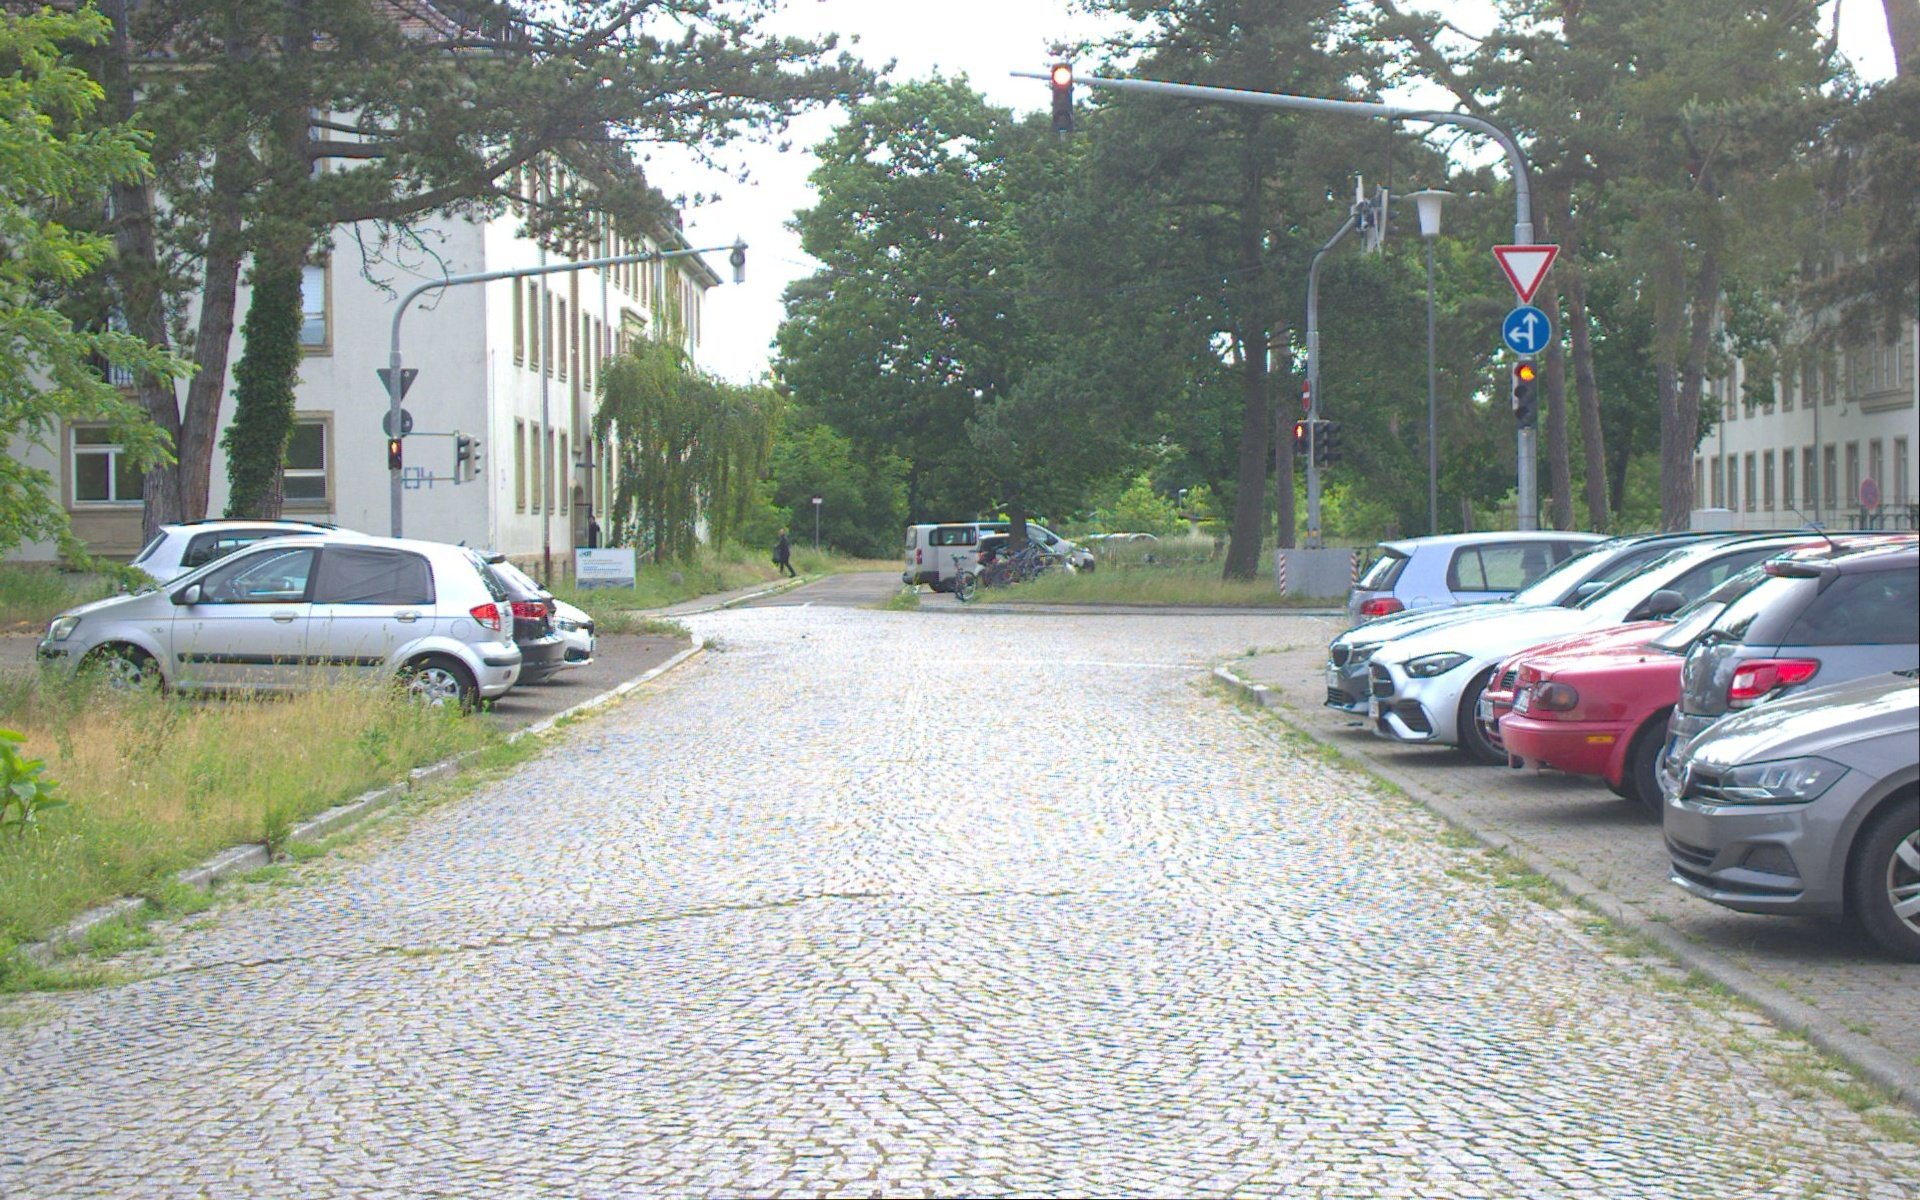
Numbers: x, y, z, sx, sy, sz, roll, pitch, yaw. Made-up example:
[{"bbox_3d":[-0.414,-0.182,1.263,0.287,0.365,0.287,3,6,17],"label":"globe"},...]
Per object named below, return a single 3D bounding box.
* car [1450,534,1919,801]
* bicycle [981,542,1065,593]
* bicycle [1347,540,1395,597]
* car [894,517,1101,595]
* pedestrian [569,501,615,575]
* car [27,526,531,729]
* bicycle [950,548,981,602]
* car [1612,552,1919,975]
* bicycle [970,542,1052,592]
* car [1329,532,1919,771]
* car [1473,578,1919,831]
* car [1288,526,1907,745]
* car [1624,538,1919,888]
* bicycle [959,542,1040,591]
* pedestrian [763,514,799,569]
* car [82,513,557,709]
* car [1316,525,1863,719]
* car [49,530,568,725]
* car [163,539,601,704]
[{"bbox_3d":[5.162,0.359,20.774,4.105,1.471,1.685,-1,1,-1],"label":"car"},{"bbox_3d":[1.477,-0.763,80.589,1.881,1.167,0.665,1,1,-5],"label":"bicycle"},{"bbox_3d":[7.797,-0.603,65.282,0.663,1.047,1.888,1,2,0],"label":"bicycle"},{"bbox_3d":[1.018,-1.240,95.392,5.374,2.094,2.179,-1,1,-12],"label":"car"},{"bbox_3d":[-9.969,-1.677,93.151,1.074,1.952,1.121,1,1,0],"label":"pedestrian"},{"bbox_3d":[-5.399,0.197,27.587,3.720,1.475,1.673,2,1,-3],"label":"car"},{"bbox_3d":[0.122,-0.566,75.966,0.663,1.167,1.888,1,1,0],"label":"bicycle"},{"bbox_3d":[4.695,0.531,12.942,4.130,1.442,1.766,-1,1,1],"label":"car"},{"bbox_3d":[1.213,-0.797,82.419,1.881,1.167,0.665,1,1,-5],"label":"bicycle"},{"bbox_3d":[4.746,0.307,23.138,4.184,1.432,1.756,-1,1,-7],"label":"car"},{"bbox_3d":[4.665,0.521,18.437,3.587,1.218,1.628,-1,1,2],"label":"car"},{"bbox_3d":[4.760,0.230,25.904,4.227,1.474,1.710,-2,1,-10],"label":"car"},{"bbox_3d":[4.993,0.451,15.807,3.505,1.482,1.743,-1,1,0],"label":"car"},{"bbox_3d":[0.964,-0.828,84.089,1.881,1.167,0.665,1,1,-5],"label":"bicycle"},{"bbox_3d":[-6.531,-2.128,125.071,1.239,1.952,1.121,1,1,-5],"label":"pedestrian"},{"bbox_3d":[-6.075,0.085,32.992,4.297,1.726,1.653,-1,1,-5],"label":"car"},{"bbox_3d":[5.161,0.157,28.454,4.134,1.458,1.634,-1,1,-5],"label":"car"},{"bbox_3d":[-5.636,0.213,30.186,4.297,1.548,1.812,-1,1,-6],"label":"car"},{"bbox_3d":[-5.888,0.193,35.447,4.297,1.548,1.812,-1,1,-6],"label":"car"}]
